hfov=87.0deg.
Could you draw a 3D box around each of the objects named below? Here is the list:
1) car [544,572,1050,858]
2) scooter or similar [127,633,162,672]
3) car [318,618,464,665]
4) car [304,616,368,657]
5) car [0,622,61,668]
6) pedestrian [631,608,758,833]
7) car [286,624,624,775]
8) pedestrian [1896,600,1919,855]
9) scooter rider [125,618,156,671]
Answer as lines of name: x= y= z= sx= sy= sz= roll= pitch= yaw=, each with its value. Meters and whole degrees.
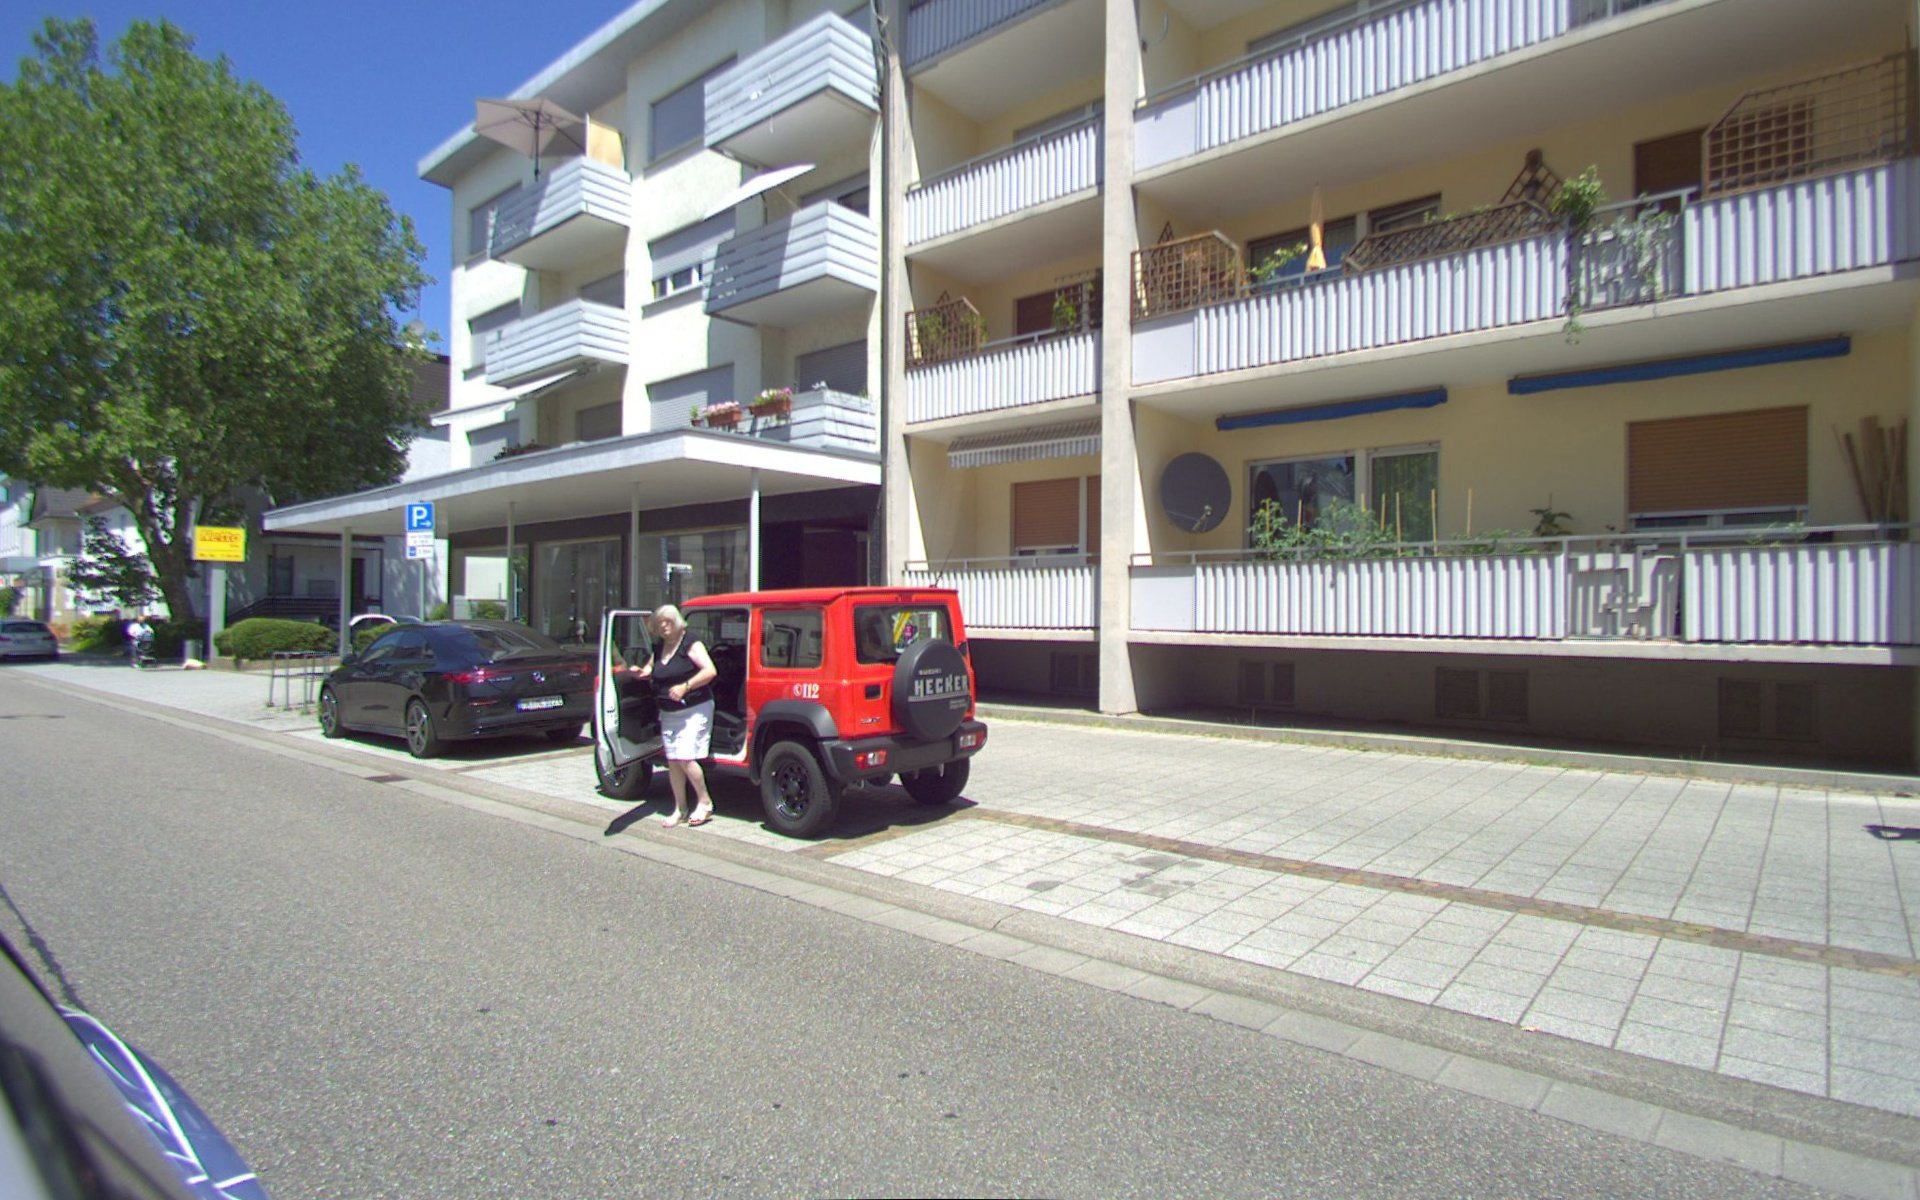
car: x=-1.470 y=0.710 z=8.079 sx=4.098 sy=1.715 sz=1.735 roll=-1 pitch=0 yaw=41
scooter or similar: x=-24.603 y=1.568 z=30.538 sx=1.028 sy=1.106 sz=0.656 roll=-2 pitch=0 yaw=42
car: x=-18.890 y=1.351 z=33.684 sx=3.952 sy=1.498 sz=1.891 roll=0 pitch=-2 yaw=11
car: x=-24.581 y=1.424 z=39.837 sx=1.782 sy=1.557 sz=4.115 roll=2 pitch=-2 yaw=-36
car: x=-32.978 y=1.532 z=35.115 sx=5.146 sy=1.463 sz=1.961 roll=-1 pitch=-1 yaw=40
pedestrian: x=-1.906 y=0.841 z=7.357 sx=0.717 sy=1.546 sz=0.729 roll=0 pitch=-2 yaw=0
car: x=-6.319 y=1.037 z=12.357 sx=5.044 sy=1.428 sz=1.877 roll=-1 pitch=0 yaw=41
pedestrian: x=6.305 y=0.750 z=5.962 sx=1.096 sy=1.504 sz=0.690 roll=-2 pitch=0 yaw=41
scooter rider: x=-25.066 y=1.358 z=30.953 sx=0.877 sy=1.587 sz=0.582 roll=-2 pitch=0 yaw=42
